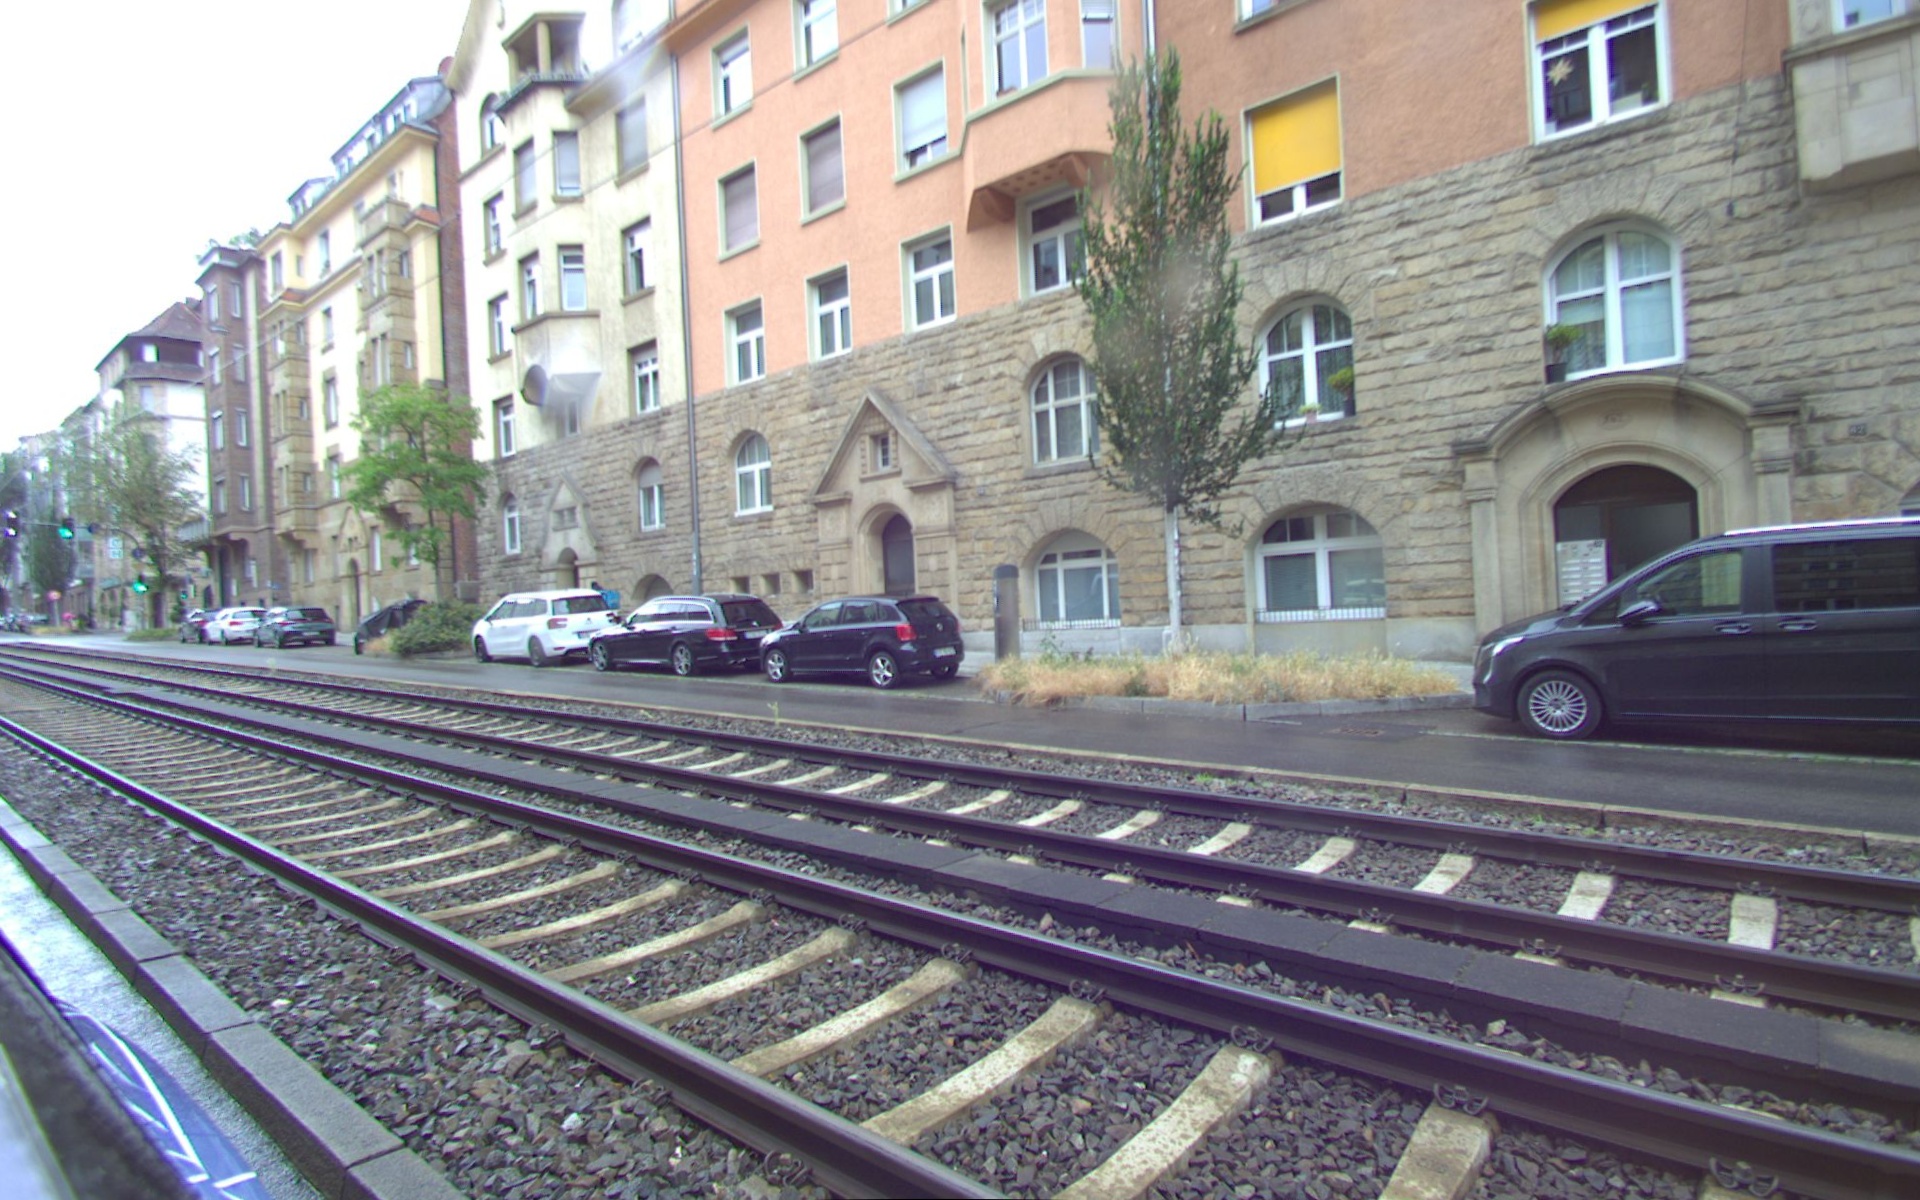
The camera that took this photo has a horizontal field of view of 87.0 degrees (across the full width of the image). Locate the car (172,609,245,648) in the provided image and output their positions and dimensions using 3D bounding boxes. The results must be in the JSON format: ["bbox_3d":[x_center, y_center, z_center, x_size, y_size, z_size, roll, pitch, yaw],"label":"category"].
[{"bbox_3d":[-32.060,1.181,43.138,3.712,1.438,1.737,-1,3,42],"label":"car"}]

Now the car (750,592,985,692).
[{"bbox_3d":[-1.592,0.638,16.840,3.690,1.414,1.739,-1,2,38],"label":"car"}]

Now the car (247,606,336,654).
[{"bbox_3d":[-23.733,1.023,35.893,3.712,1.493,1.695,-1,3,42],"label":"car"}]

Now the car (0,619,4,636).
[{"bbox_3d":[-81.605,2.296,84.799,4.255,1.356,1.771,-1,0,41],"label":"car"}]

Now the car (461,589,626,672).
[{"bbox_3d":[-9.748,0.660,23.557,4.257,1.684,1.738,-1,3,40],"label":"car"}]

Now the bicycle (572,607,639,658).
[{"bbox_3d":[-9.040,0.810,25.791,2.052,1.231,0.685,-1,0,41],"label":"bicycle"}]

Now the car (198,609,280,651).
[{"bbox_3d":[-28.367,1.145,39.793,4.043,1.462,1.737,-1,3,42],"label":"car"}]

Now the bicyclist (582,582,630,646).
[{"bbox_3d":[-9.012,0.350,25.763,0.774,1.613,0.883,-1,0,41],"label":"bicyclist"}]

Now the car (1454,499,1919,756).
[{"bbox_3d":[7.221,0.207,8.935,4.829,1.945,1.886,-1,0,40],"label":"car"}]

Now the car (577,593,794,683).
[{"bbox_3d":[-5.467,0.683,19.850,4.593,1.502,1.738,-1,2,39],"label":"car"}]
